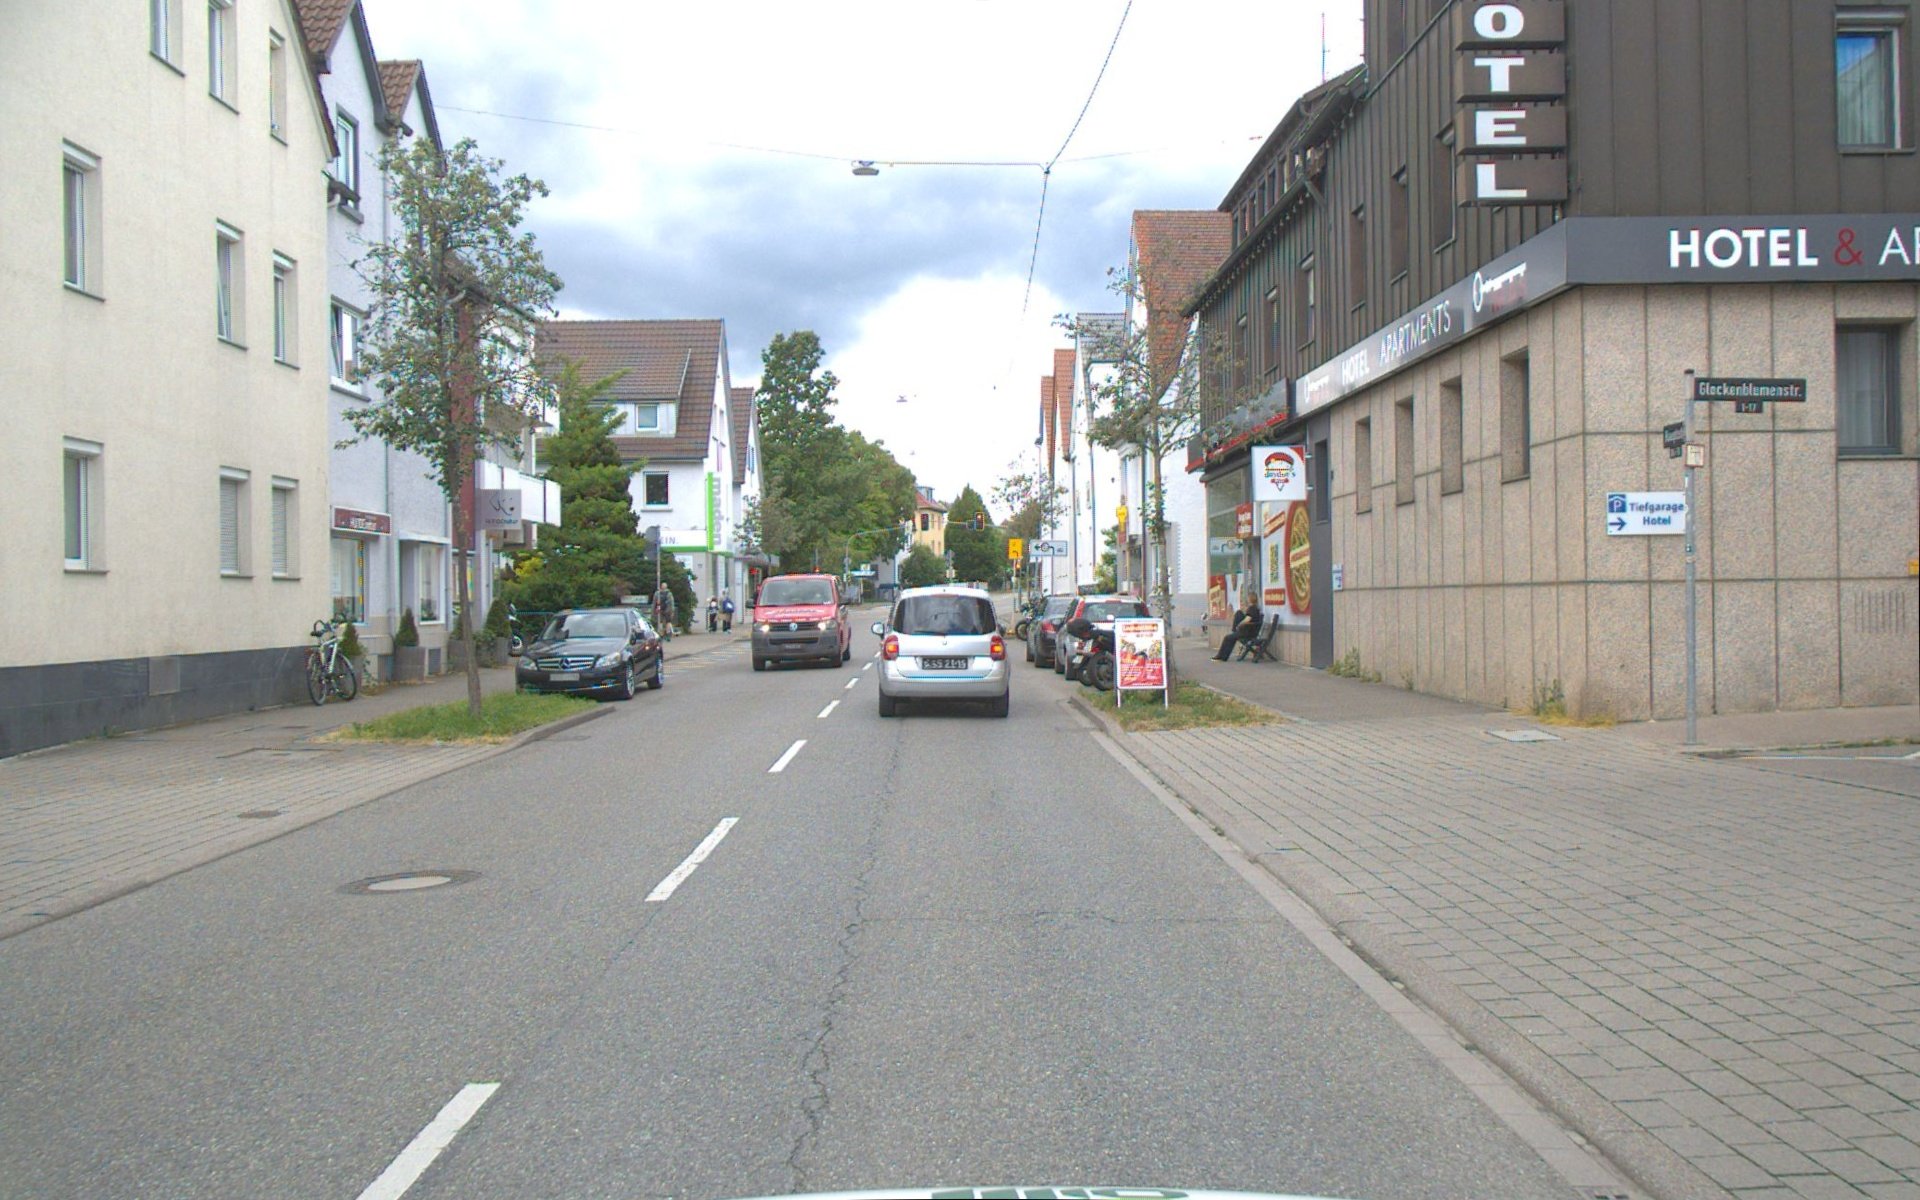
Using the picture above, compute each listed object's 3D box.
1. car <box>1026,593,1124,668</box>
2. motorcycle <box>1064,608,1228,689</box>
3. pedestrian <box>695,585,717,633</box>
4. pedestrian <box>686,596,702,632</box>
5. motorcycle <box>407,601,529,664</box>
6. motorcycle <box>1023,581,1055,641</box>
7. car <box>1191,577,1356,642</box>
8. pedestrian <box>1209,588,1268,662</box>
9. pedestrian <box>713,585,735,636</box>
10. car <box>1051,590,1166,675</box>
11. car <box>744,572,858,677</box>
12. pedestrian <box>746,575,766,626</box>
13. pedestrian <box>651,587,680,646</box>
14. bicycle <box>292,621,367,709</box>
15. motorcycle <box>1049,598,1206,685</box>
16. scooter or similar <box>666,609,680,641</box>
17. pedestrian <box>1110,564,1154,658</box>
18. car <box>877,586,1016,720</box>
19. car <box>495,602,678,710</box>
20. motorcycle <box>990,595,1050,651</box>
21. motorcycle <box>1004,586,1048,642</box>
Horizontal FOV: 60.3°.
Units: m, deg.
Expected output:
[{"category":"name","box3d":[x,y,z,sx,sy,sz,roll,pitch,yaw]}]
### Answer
[{"category":"car","box3d":[2.358,0.605,34.831,1.666,1.493,4.237,0,0,-1]},{"category":"motorcycle","box3d":[2.929,0.728,25.837,2.701,1.204,0.692,0,0,-32]},{"category":"pedestrian","box3d":[-9.520,0.343,61.968,0.702,1.787,0.695,0,0,-1]},{"category":"pedestrian","box3d":[-9.690,0.517,60.233,0.482,1.300,0.588,0,0,-1]},{"category":"motorcycle","box3d":[-11.413,0.736,38.453,2.658,1.434,0.698,0,0,-11]},{"category":"motorcycle","box3d":[2.270,0.299,47.190,0.683,1.667,2.411,0,0,9]},{"category":"car","box3d":[7.980,0.235,42.286,3.899,1.593,1.688,0,0,-1]},{"category":"pedestrian","box3d":[5.354,0.476,31.824,0.870,1.322,0.966,-5,0,-1]},{"category":"pedestrian","box3d":[-8.800,0.380,61.635,0.746,1.909,0.695,0,0,-1]},{"category":"car","box3d":[2.625,0.550,30.025,1.666,1.455,3.889,0,0,-1]},{"category":"car","box3d":[-3.342,0.496,35.721,1.909,1.996,5.222,-3,0,0]},{"category":"pedestrian","box3d":[-7.711,0.026,62.601,0.702,1.909,0.695,0,0,-1]},{"category":"pedestrian","box3d":[-9.166,0.516,51.501,0.747,1.822,0.889,0,0,-1]},{"category":"bicycle","box3d":[-8.892,0.890,23.376,0.504,1.174,1.665,0,0,-4]},{"category":"motorcycle","box3d":[2.741,0.649,26.879,2.680,1.359,0.692,0,0,-32]},{"category":"scooter or similar","box3d":[-9.704,0.841,55.883,0.366,1.053,0.559,-1,0,-1]},{"category":"pedestrian","box3d":[3.639,0.230,35.016,0.839,1.961,0.899,0,0,-1]},{"category":"car","box3d":[-0.170,0.636,21.773,1.648,1.593,3.993,0,0,0]},{"category":"car","box3d":[-5.955,0.832,26.923,1.909,1.493,4.515,-3,0,0]},{"category":"motorcycle","box3d":[1.609,0.599,43.984,0.684,1.434,2.715,0,0,23]},{"category":"motorcycle","box3d":[1.966,0.413,49.858,0.686,1.667,2.400,0,0,-14]}]
